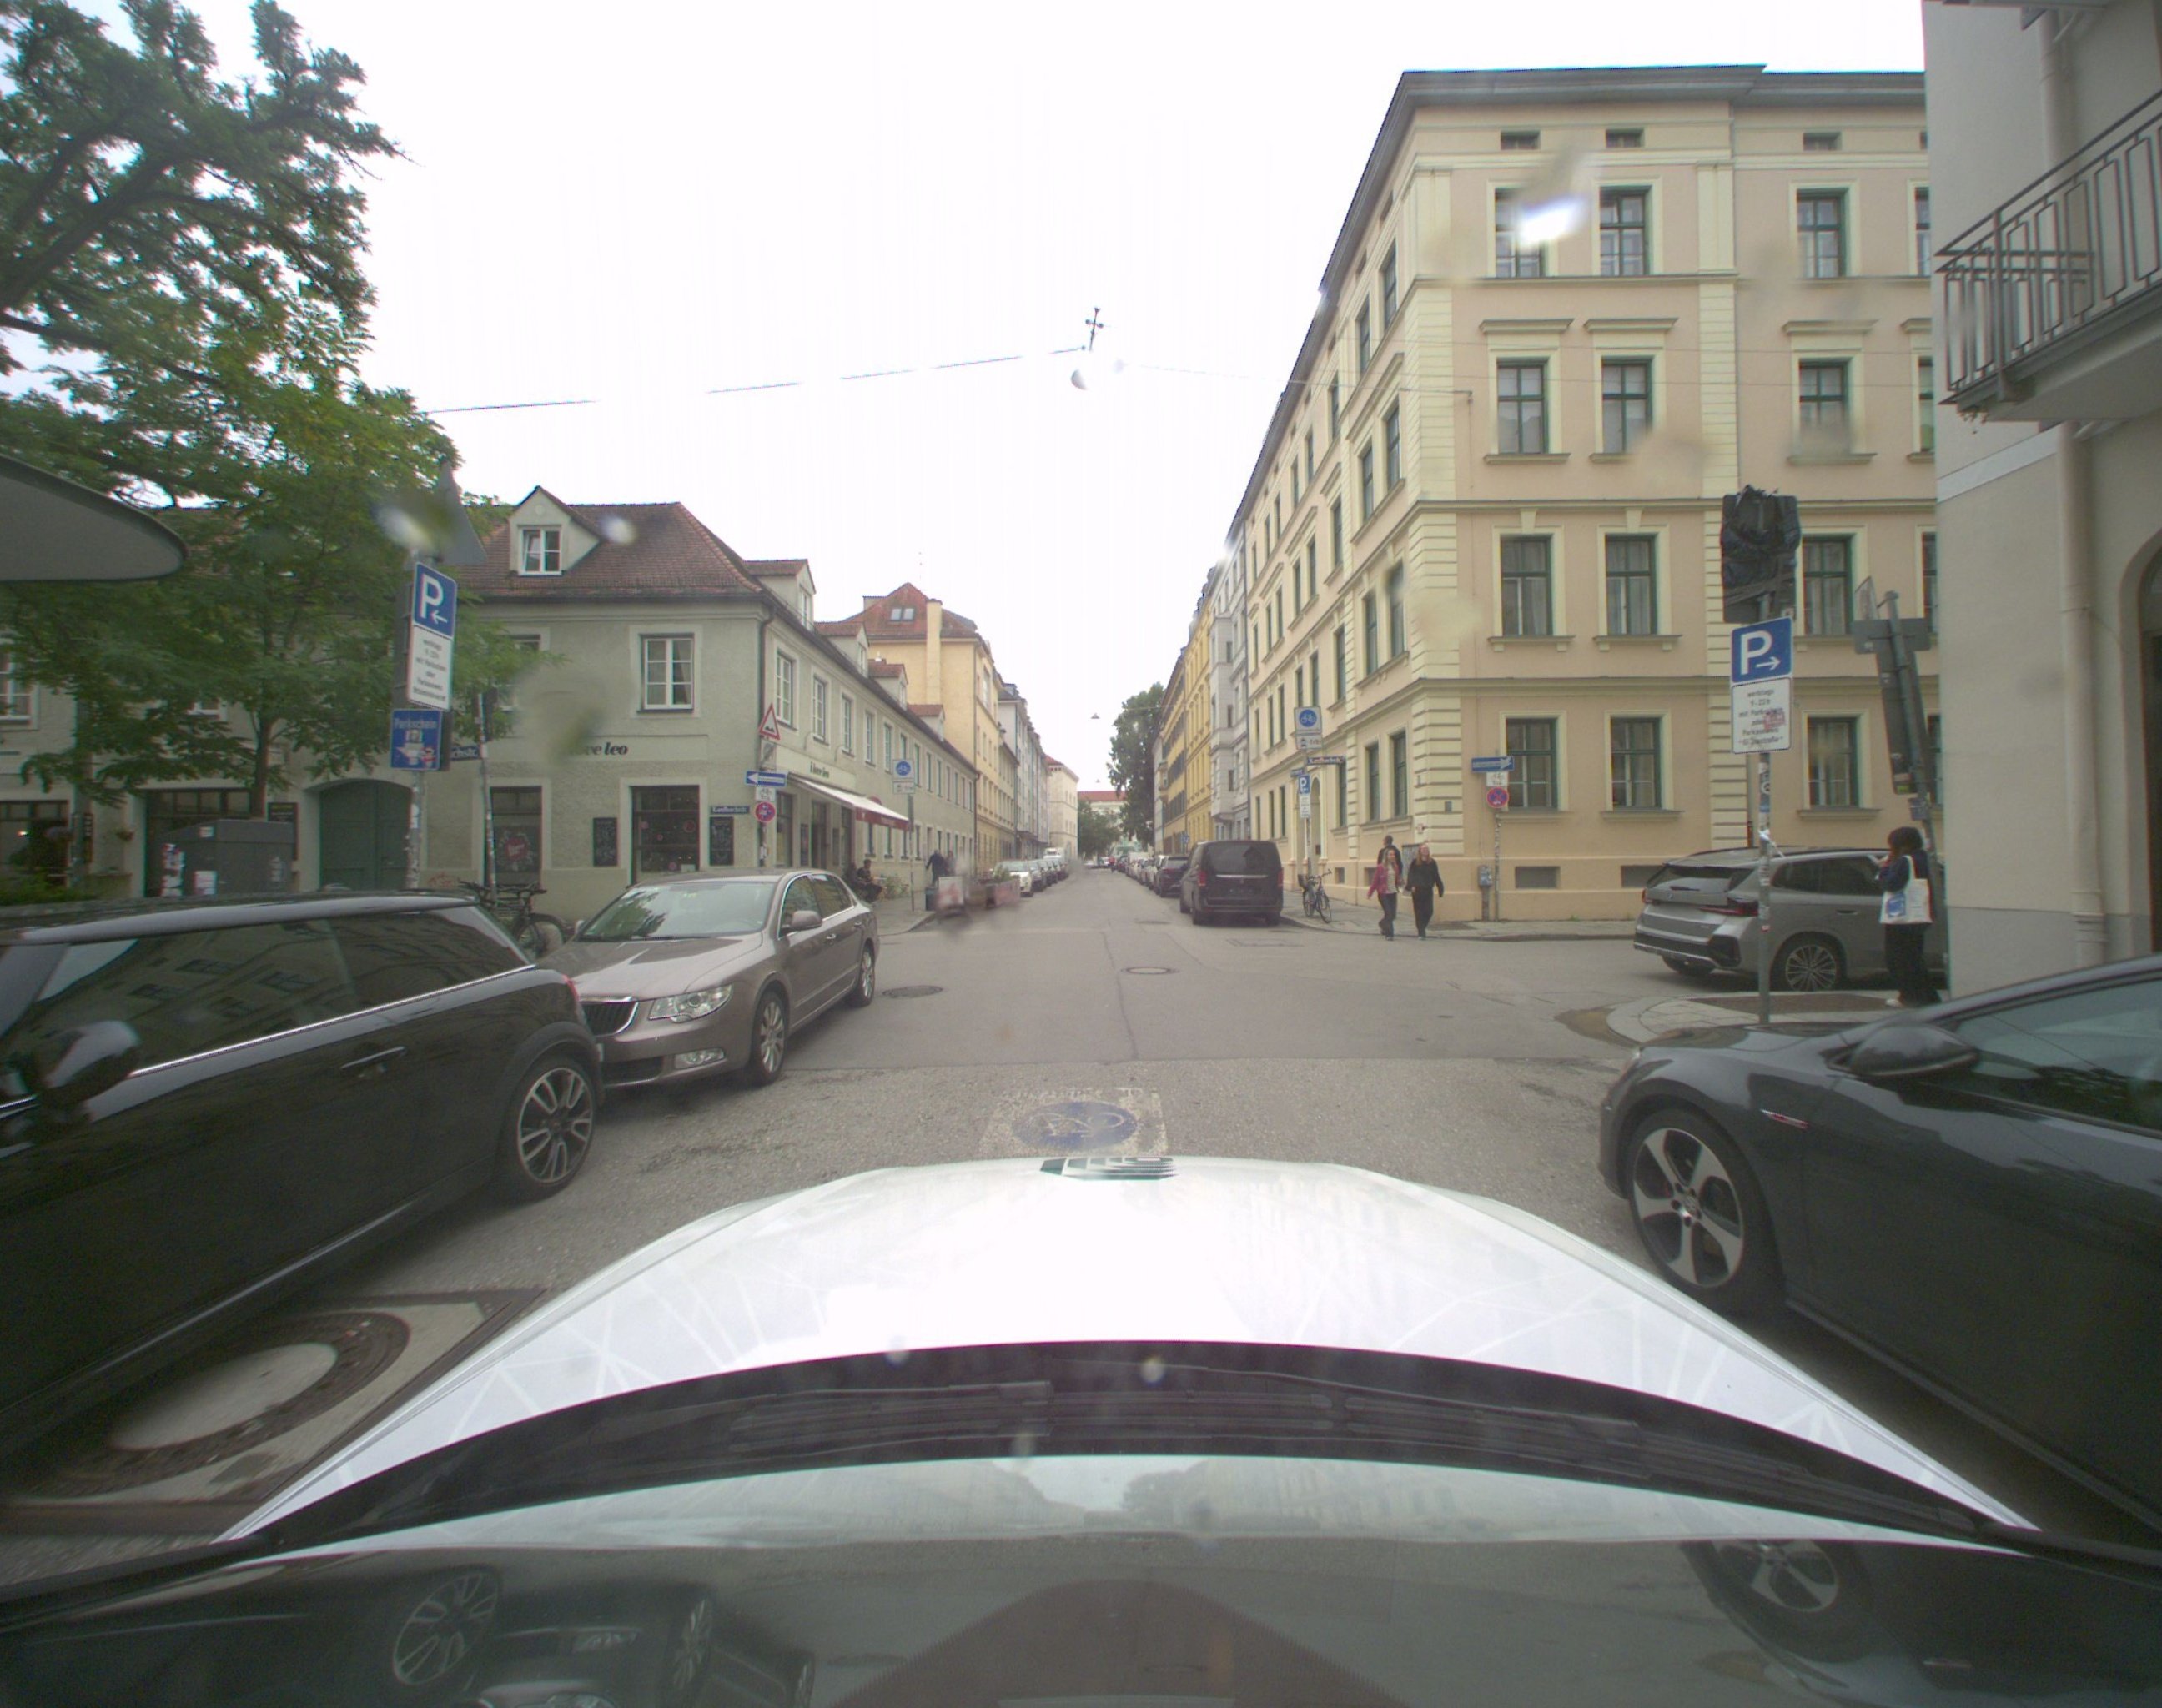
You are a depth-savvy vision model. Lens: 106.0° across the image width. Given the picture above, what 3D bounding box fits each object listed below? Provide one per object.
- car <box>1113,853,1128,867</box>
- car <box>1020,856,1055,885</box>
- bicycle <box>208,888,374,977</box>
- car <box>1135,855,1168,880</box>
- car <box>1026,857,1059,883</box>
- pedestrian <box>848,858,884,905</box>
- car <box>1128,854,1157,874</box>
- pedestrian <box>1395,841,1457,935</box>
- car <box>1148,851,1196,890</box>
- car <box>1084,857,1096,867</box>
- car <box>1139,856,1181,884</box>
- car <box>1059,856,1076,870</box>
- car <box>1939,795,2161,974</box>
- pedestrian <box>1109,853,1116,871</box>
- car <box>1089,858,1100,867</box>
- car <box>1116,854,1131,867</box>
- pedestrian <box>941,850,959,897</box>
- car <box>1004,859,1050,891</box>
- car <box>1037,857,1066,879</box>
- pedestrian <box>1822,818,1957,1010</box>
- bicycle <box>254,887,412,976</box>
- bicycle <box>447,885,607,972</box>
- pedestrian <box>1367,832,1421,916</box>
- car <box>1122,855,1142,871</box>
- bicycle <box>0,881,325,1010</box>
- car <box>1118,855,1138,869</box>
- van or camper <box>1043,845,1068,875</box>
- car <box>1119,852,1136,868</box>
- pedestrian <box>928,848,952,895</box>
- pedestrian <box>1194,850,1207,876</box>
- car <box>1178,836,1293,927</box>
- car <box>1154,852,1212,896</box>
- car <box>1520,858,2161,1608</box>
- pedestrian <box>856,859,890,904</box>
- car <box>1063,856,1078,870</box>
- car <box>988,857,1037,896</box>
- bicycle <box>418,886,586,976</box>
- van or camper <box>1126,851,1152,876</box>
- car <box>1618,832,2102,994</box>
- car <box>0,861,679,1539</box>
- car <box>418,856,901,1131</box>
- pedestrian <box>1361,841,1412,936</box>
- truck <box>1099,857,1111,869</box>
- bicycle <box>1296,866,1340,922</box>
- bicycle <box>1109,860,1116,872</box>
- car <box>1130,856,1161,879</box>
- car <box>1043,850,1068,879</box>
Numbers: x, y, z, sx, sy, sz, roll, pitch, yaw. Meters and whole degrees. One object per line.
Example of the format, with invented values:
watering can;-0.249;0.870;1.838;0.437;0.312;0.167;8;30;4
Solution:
car;5.365;0.824;111.301;1.845;1.919;4.771;-1;-1;2
car;-2.308;0.874;44.106;1.750;1.496;4.198;-1;0;-1
bicycle;-9.607;0.921;9.990;0.379;0.966;1.714;1;-1;-2
car;4.164;0.794;48.608;1.702;1.408;4.816;-1;0;1
car;-2.302;0.944;49.058;1.812;1.441;4.127;-2;0;-3
pedestrian;-6.147;0.786;23.341;0.800;1.290;0.693;-1;-2;1
car;4.489;0.739;59.704;1.703;1.392;4.204;-1;0;-1
pedestrian;6.209;0.604;14.690;0.656;1.620;0.979;-1;-2;0
car;3.989;0.705;36.289;1.736;1.583;4.468;-1;0;1
car;1.535;1.425;140.739;1.699;1.581;3.867;-2;-1;4
car;4.101;0.817;42.736;1.703;1.404;4.205;-1;0;-1
car;-1.525;1.029;92.985;1.812;1.444;3.818;-2;-1;0
car;13.619;0.243;9.862;4.426;1.916;1.975;-1;3;-1
pedestrian;3.024;0.745;79.327;0.639;1.714;0.843;-1;-2;2
car;2.522;1.560;146.863;1.699;1.581;3.867;-2;-1;4
car;5.501;0.896;105.420;1.805;1.614;4.157;-1;-1;2
pedestrian;-5.140;0.762;32.007;0.526;1.782;0.877;-1;-2;1
car;-2.486;0.927;38.207;1.792;1.339;4.685;-1;0;0
car;-1.933;0.895;54.141;1.749;1.409;4.102;-1;0;0
pedestrian;7.276;0.525;7.347;0.633;1.647;0.525;-1;-2;-7
bicycle;-9.114;0.911;10.015;0.379;0.966;1.714;1;-1;-2
bicycle;-7.026;0.935;10.347;1.810;1.035;0.392;1;0;3
pedestrian;6.635;0.422;17.315;0.716;1.717;1.003;-1;-2;0
car;4.961;0.878;79.493;1.805;1.465;4.247;0;-1;1
bicycle;-9.473;0.891;8.295;2.830;1.212;0.818;0;-2;3
car;4.840;0.854;84.507;1.806;1.425;4.245;0;-1;0
van or camper;-1.986;0.462;64.405;1.749;2.281;5.272;-1;-1;0
car;5.214;0.693;91.509;1.805;1.797;4.248;0;-1;2
pedestrian;-5.890;0.732;33.969;0.820;1.898;0.827;-1;-2;0
pedestrian;7.430;0.566;50.634;0.658;1.571;0.642;-4;-2;0
car;3.520;0.574;19.586;1.989;1.864;5.256;-1;0;3
car;3.785;0.715;30.932;1.748;1.521;4.275;-1;0;1
car;2.934;0.760;1.738;1.670;1.425;4.202;1;0;-1
pedestrian;-6.135;0.803;24.065;0.800;1.290;0.693;-1;-2;1
car;-1.272;1.089;98.246;1.701;1.609;3.862;-2;-1;0
car;-2.717;0.876;32.883;1.750;1.475;3.711;0;0;-2
bicycle;-7.053;0.925;9.943;1.810;1.035;0.392;1;0;3
van or camper;4.554;0.722;64.716;1.827;1.872;5.080;-1;0;1
car;8.897;0.602;9.554;4.076;1.605;1.754;-2;1;-1
car;-3.229;0.815;2.607;1.672;1.471;4.099;-2;0;2
car;-2.938;0.797;7.108;1.674;1.471;4.947;-2;0;-1
pedestrian;5.477;0.610;14.653;0.470;1.625;1.069;-1;-2;0
truck;4.598;1.761;154.128;2.113;2.247;6.187;-2;-1;2
bicycle;5.176;0.844;17.872;0.463;1.052;1.730;-3;2;2
bicycle;3.047;1.160;79.302;0.673;1.095;1.761;-2;-2;2
car;4.319;0.891;54.946;1.703;1.454;4.095;-1;0;-1
car;-1.873;0.725;59.069;1.750;1.995;4.620;-1;-1;-3
